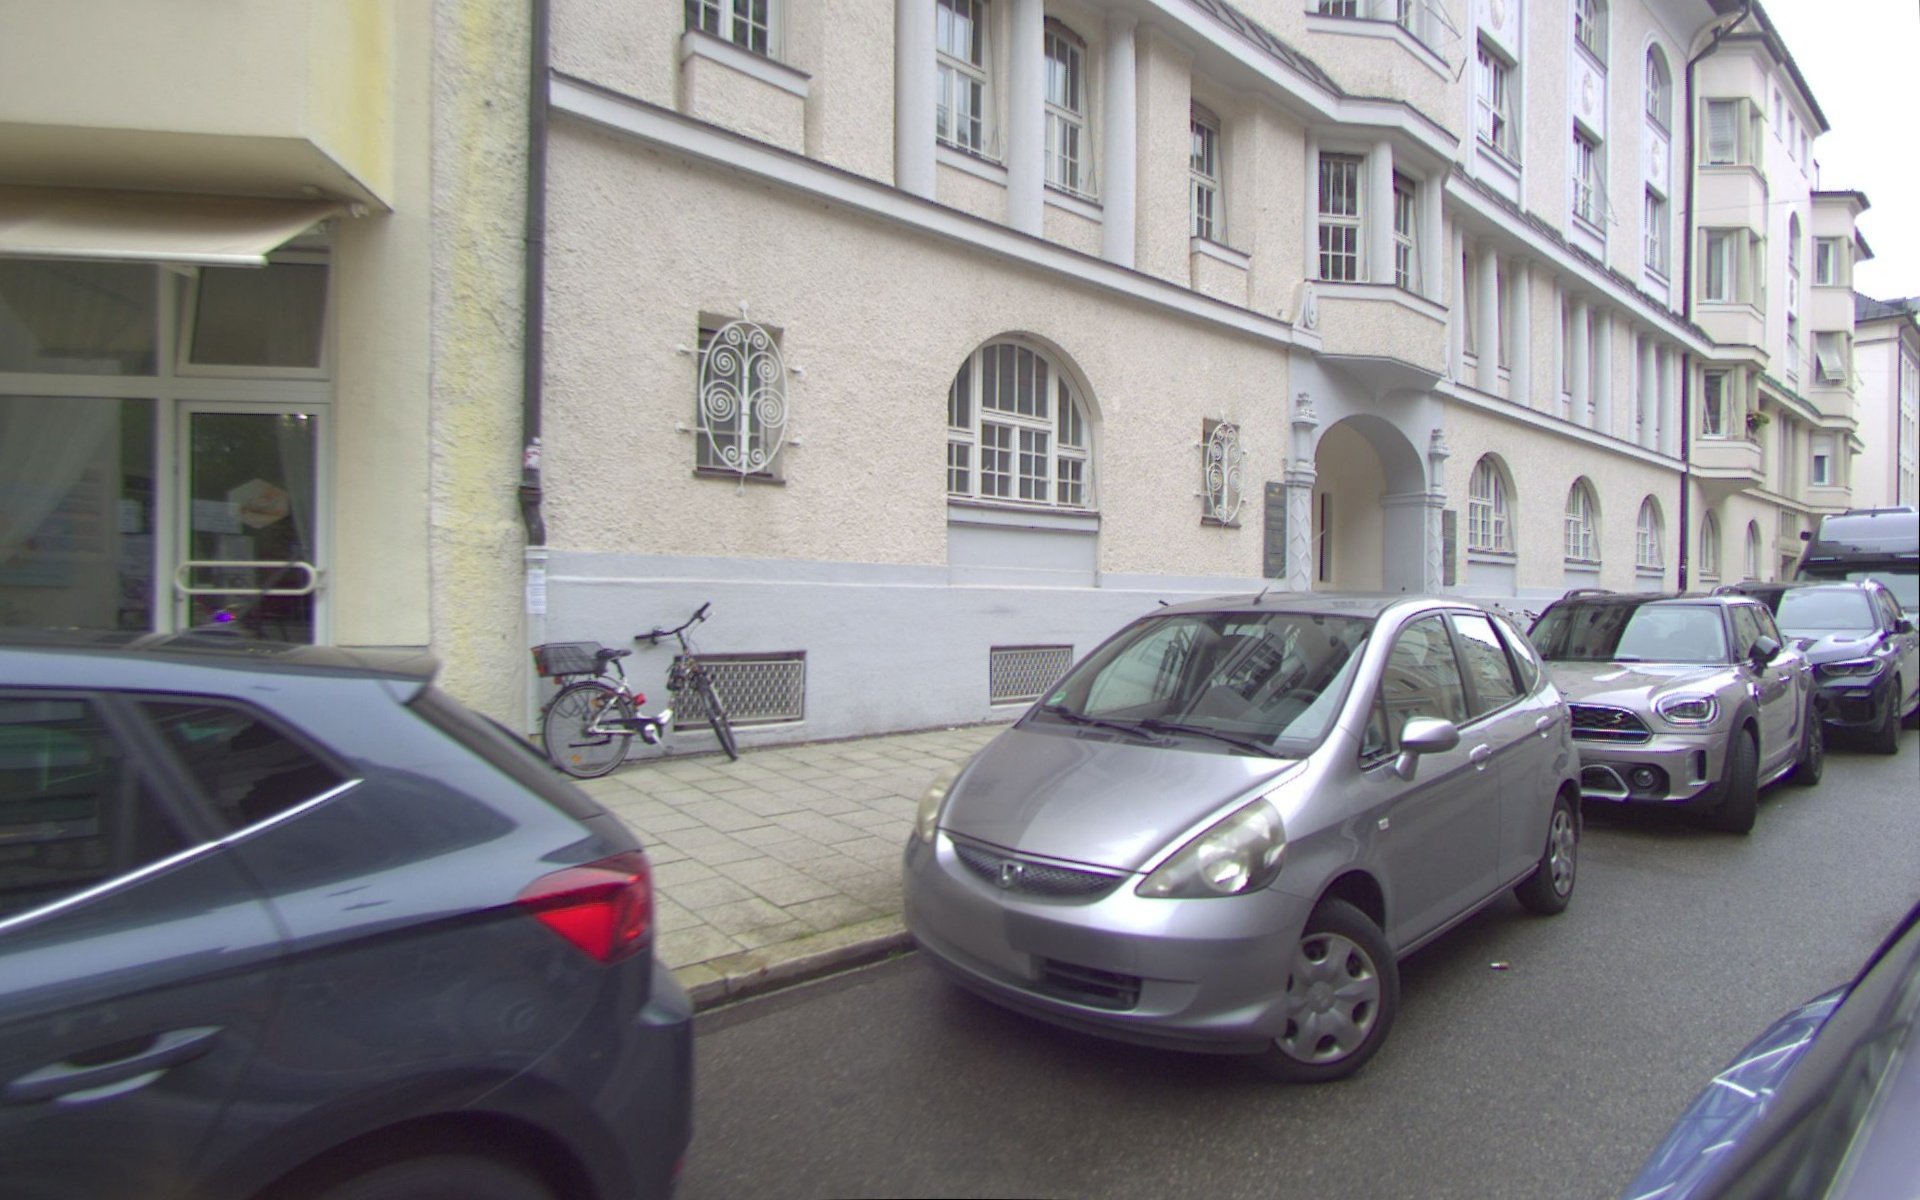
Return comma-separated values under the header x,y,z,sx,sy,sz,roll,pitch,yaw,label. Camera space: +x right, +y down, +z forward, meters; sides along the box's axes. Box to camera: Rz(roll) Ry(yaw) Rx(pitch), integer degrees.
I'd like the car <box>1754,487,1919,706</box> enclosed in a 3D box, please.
x,y,z,sx,sy,sz,roll,pitch,yaw,label
14.978,-0.098,16.352,6.026,2.997,2.258,-1,0,-41,car

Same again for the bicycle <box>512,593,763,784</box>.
x,y,z,sx,sy,sz,roll,pitch,yaw,label
-2.291,0.569,7.335,0.563,1.207,1.650,4,3,44,bicycle

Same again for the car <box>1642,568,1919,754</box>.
x,y,z,sx,sy,sz,roll,pitch,yaw,label
9.708,0.569,11.556,4.591,1.710,1.997,0,-1,-40,car

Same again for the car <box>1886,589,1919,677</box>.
x,y,z,sx,sy,sz,roll,pitch,yaw,label
19.210,0.605,19.595,2.765,1.646,1.545,0,0,-40,car

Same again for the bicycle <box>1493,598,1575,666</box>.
x,y,z,sx,sy,sz,roll,pitch,yaw,label
10.178,0.544,17.921,1.753,1.165,0.483,0,0,-32,bicycle

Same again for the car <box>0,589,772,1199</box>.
x,y,z,sx,sy,sz,roll,pitch,yaw,label
-2.300,0.731,1.287,3.790,1.490,1.636,0,0,-43,car

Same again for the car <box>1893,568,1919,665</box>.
x,y,z,sx,sy,sz,roll,pitch,yaw,label
22.342,0.352,22.568,3.999,2.065,1.799,0,0,-40,car

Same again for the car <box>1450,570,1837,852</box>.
x,y,z,sx,sy,sz,roll,pitch,yaw,label
5.361,0.622,7.733,3.902,1.612,1.635,0,0,-43,car

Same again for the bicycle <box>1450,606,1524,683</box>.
x,y,z,sx,sy,sz,roll,pitch,yaw,label
8.697,0.703,16.675,1.758,1.164,0.482,0,3,-43,bicycle

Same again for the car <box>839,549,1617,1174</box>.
x,y,z,sx,sy,sz,roll,pitch,yaw,label
1.465,0.640,4.453,3.792,1.556,1.635,0,0,-45,car

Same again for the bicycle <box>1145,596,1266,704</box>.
x,y,z,sx,sy,sz,roll,pitch,yaw,label
2.866,0.532,11.712,1.758,1.165,0.482,0,0,-43,bicycle
